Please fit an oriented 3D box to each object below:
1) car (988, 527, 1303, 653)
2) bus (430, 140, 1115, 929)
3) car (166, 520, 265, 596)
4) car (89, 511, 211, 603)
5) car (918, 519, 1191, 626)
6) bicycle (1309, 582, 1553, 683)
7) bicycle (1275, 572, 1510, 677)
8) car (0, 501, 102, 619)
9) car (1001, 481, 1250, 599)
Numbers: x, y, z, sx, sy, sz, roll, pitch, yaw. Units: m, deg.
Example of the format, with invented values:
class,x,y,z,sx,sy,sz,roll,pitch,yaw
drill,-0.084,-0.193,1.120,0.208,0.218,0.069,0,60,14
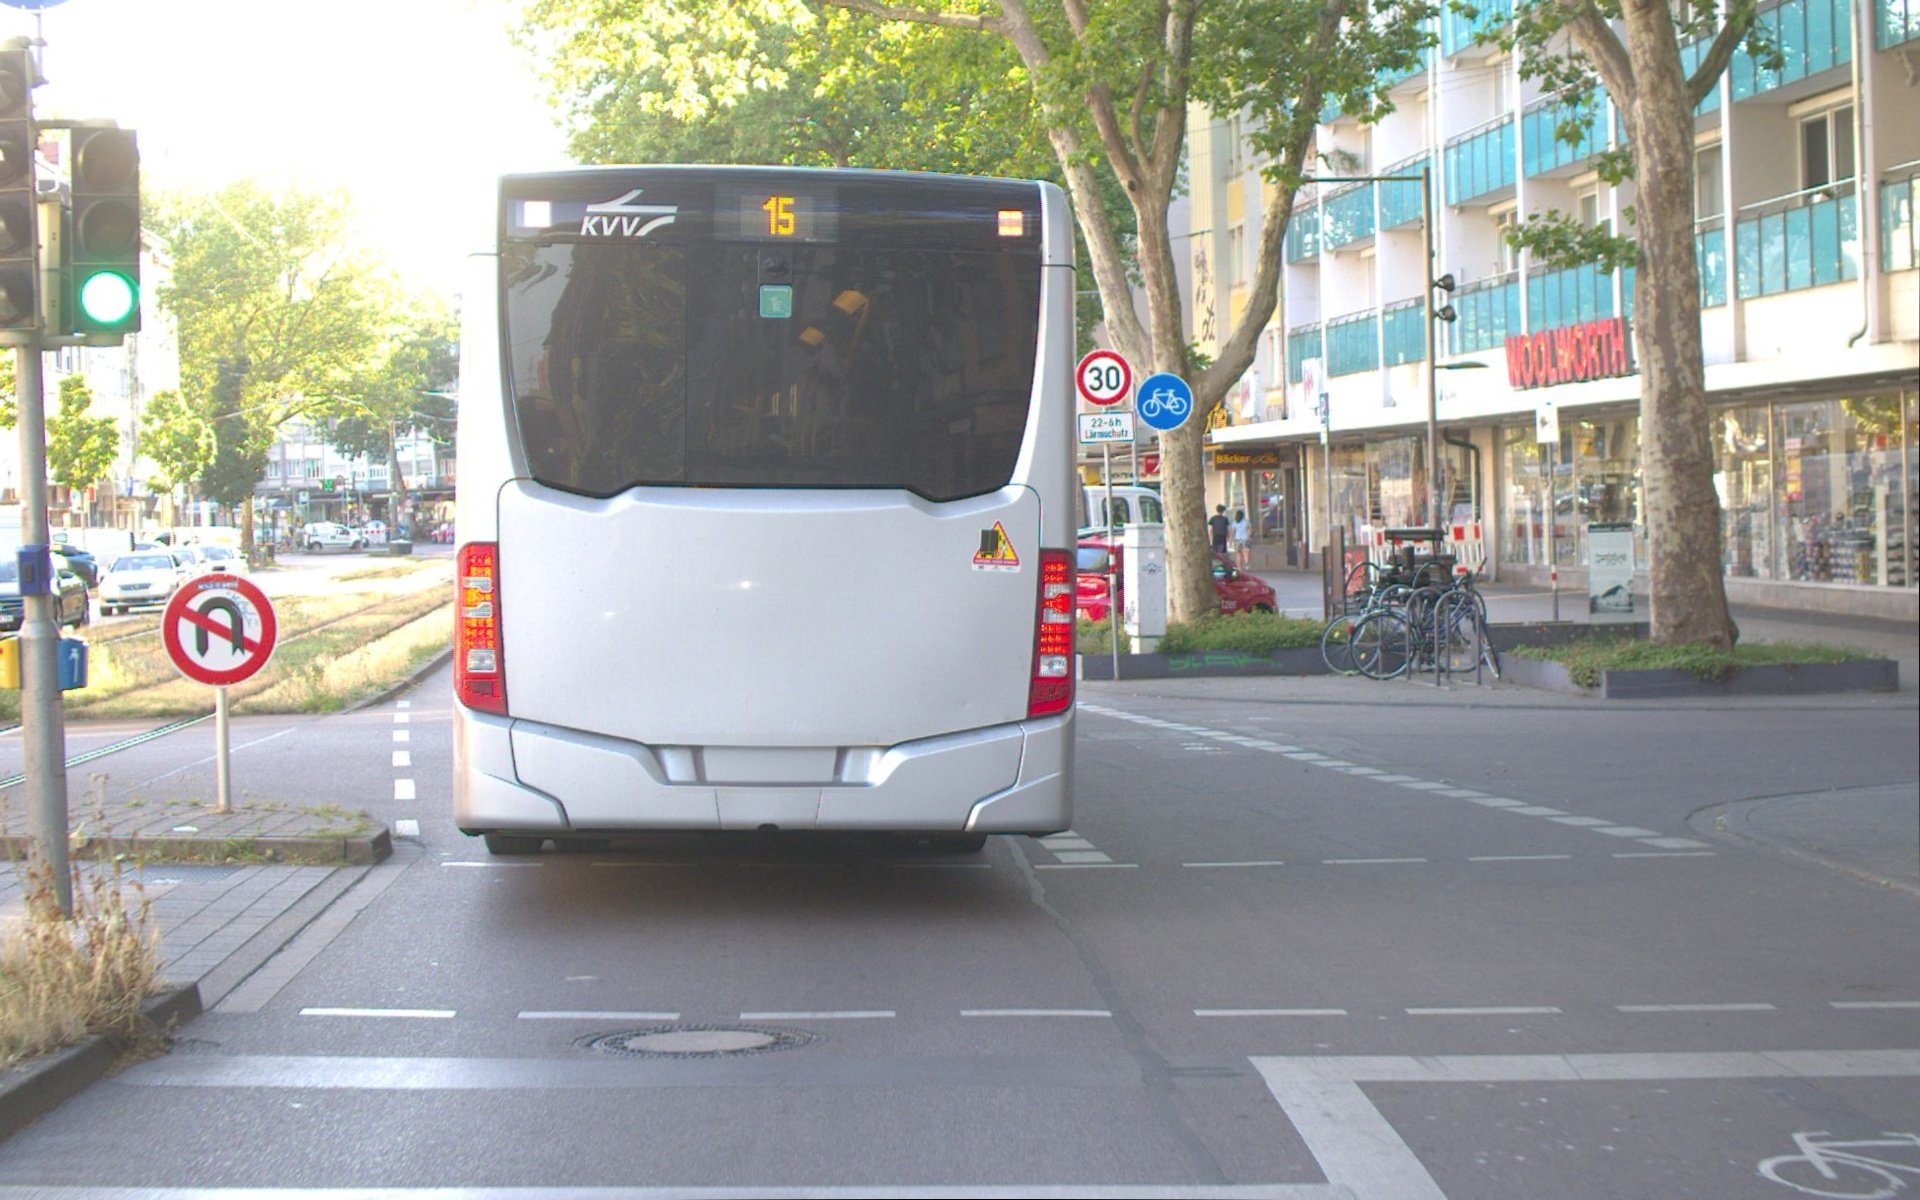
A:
class,x,y,z,sx,sy,sz,roll,pitch,yaw
car,2.450,-0.147,44.694,1.998,1.525,3.990,0,1,42
bus,-0.974,-0.327,17.023,2.677,3.073,7.115,0,1,-4
car,-20.348,-1.161,94.099,1.993,2.007,4.001,-1,1,-3
car,-18.460,-0.985,78.465,1.993,2.007,4.001,-1,1,-3
car,1.459,-0.433,52.005,1.998,1.525,3.990,0,1,42
bicycle,4.792,0.319,35.045,2.309,0.936,0.837,-1,2,-8
bicycle,4.552,0.251,36.259,2.309,1.025,0.837,-1,2,-8
car,-16.677,-0.709,61.167,1.993,2.007,4.001,-1,1,-3
car,2.891,-1.047,59.579,3.989,1.963,1.999,-2,1,-41
